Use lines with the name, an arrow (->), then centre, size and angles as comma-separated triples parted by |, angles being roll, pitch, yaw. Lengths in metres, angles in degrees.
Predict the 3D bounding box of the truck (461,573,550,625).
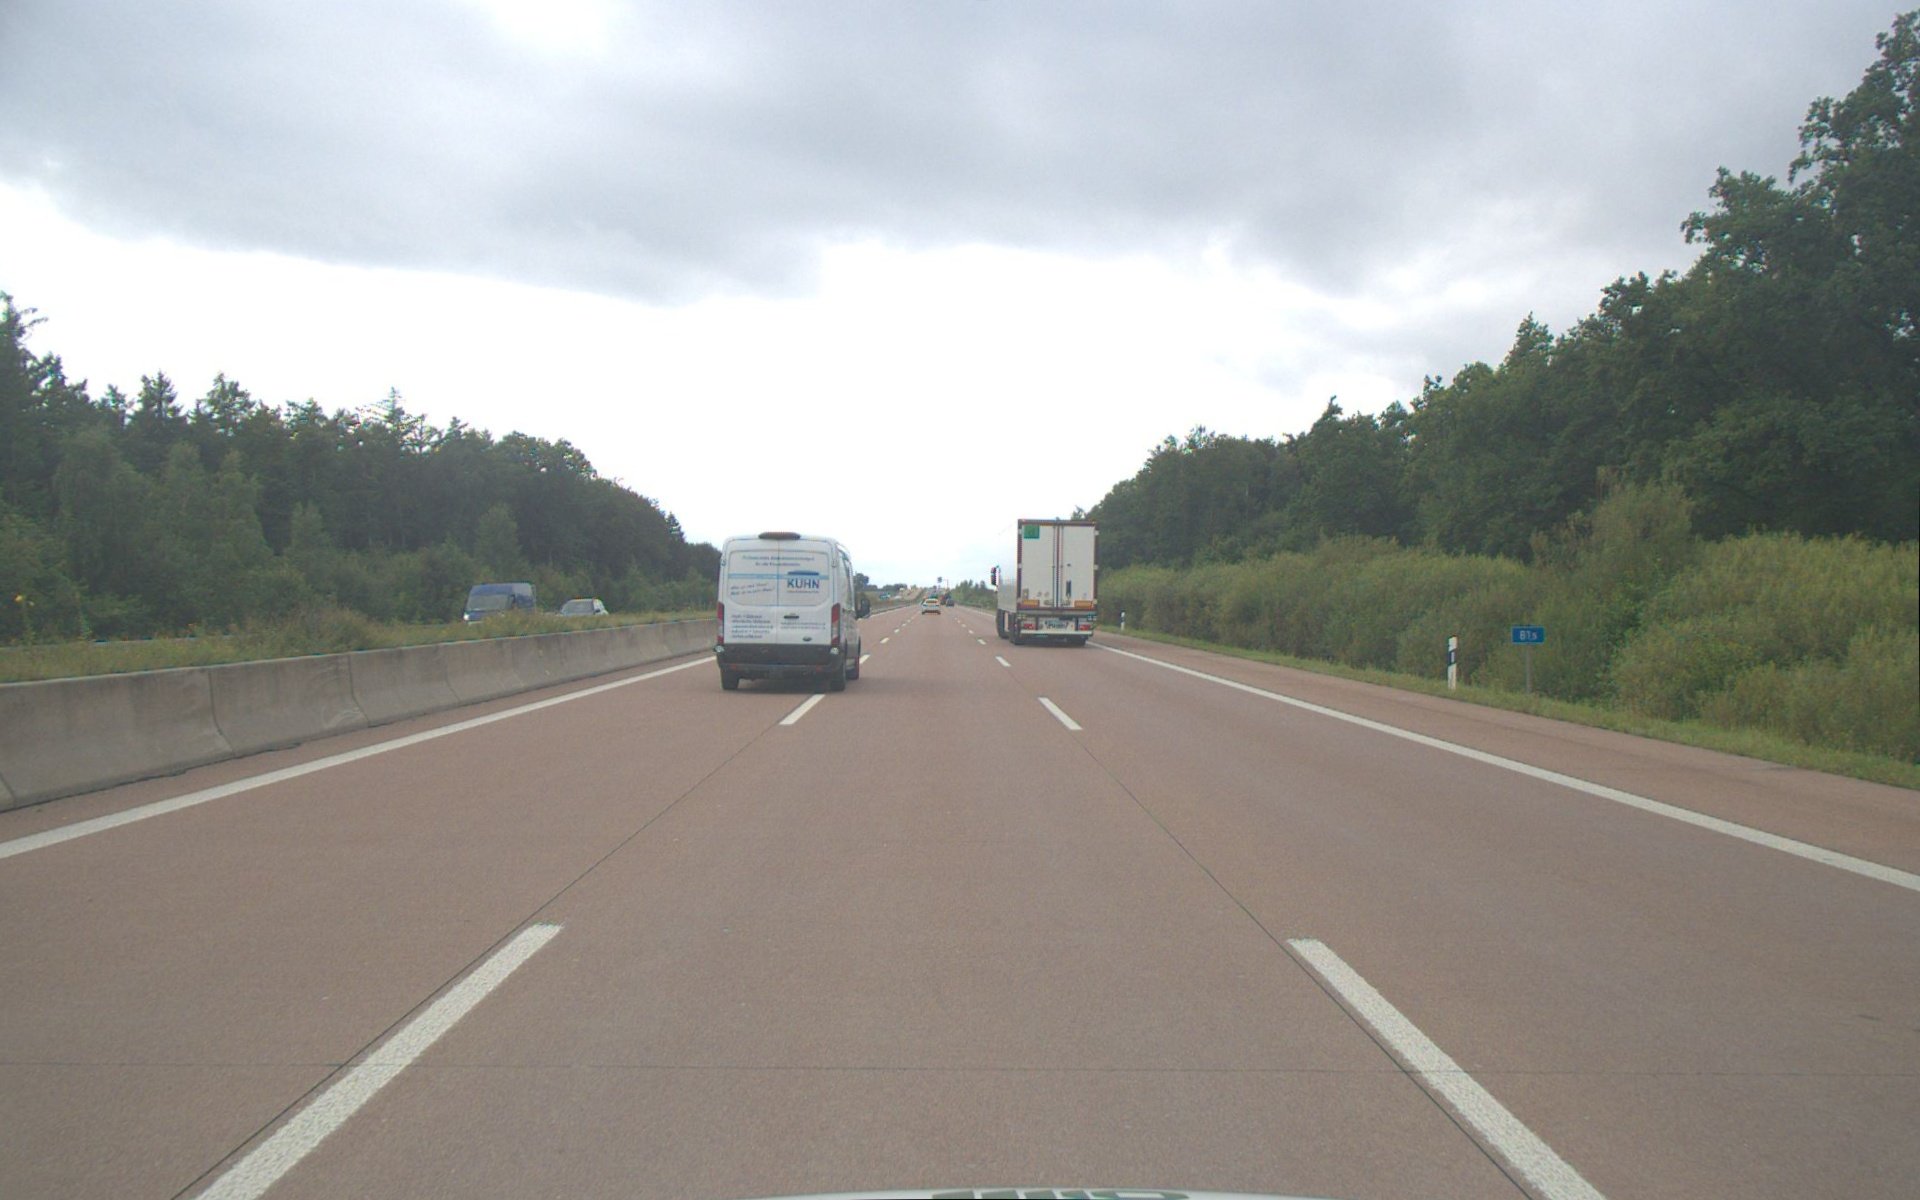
truck -> -19.958, -0.052, 72.942 | 2.299, 2.199, 6.042 | 1, 0, -1

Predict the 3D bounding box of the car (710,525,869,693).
car -> -2.784, 0.106, 28.640 | 2.094, 2.551, 7.130 | 0, 0, -1

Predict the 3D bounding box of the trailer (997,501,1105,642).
trailer -> 2.980, -0.885, 58.220 | 2.862, 4.369, 13.611 | 0, 0, -1

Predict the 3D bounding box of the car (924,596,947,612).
car -> -2.471, 0.364, 165.313 | 2.119, 1.476, 4.719 | 2, 0, 1

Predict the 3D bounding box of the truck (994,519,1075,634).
truck -> 2.900, -0.911, 65.784 | 2.862, 4.369, 5.334 | 0, 0, -1

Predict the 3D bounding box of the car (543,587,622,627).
car -> -16.384, 0.285, 72.077 | 2.299, 1.655, 5.127 | 1, 0, -1
